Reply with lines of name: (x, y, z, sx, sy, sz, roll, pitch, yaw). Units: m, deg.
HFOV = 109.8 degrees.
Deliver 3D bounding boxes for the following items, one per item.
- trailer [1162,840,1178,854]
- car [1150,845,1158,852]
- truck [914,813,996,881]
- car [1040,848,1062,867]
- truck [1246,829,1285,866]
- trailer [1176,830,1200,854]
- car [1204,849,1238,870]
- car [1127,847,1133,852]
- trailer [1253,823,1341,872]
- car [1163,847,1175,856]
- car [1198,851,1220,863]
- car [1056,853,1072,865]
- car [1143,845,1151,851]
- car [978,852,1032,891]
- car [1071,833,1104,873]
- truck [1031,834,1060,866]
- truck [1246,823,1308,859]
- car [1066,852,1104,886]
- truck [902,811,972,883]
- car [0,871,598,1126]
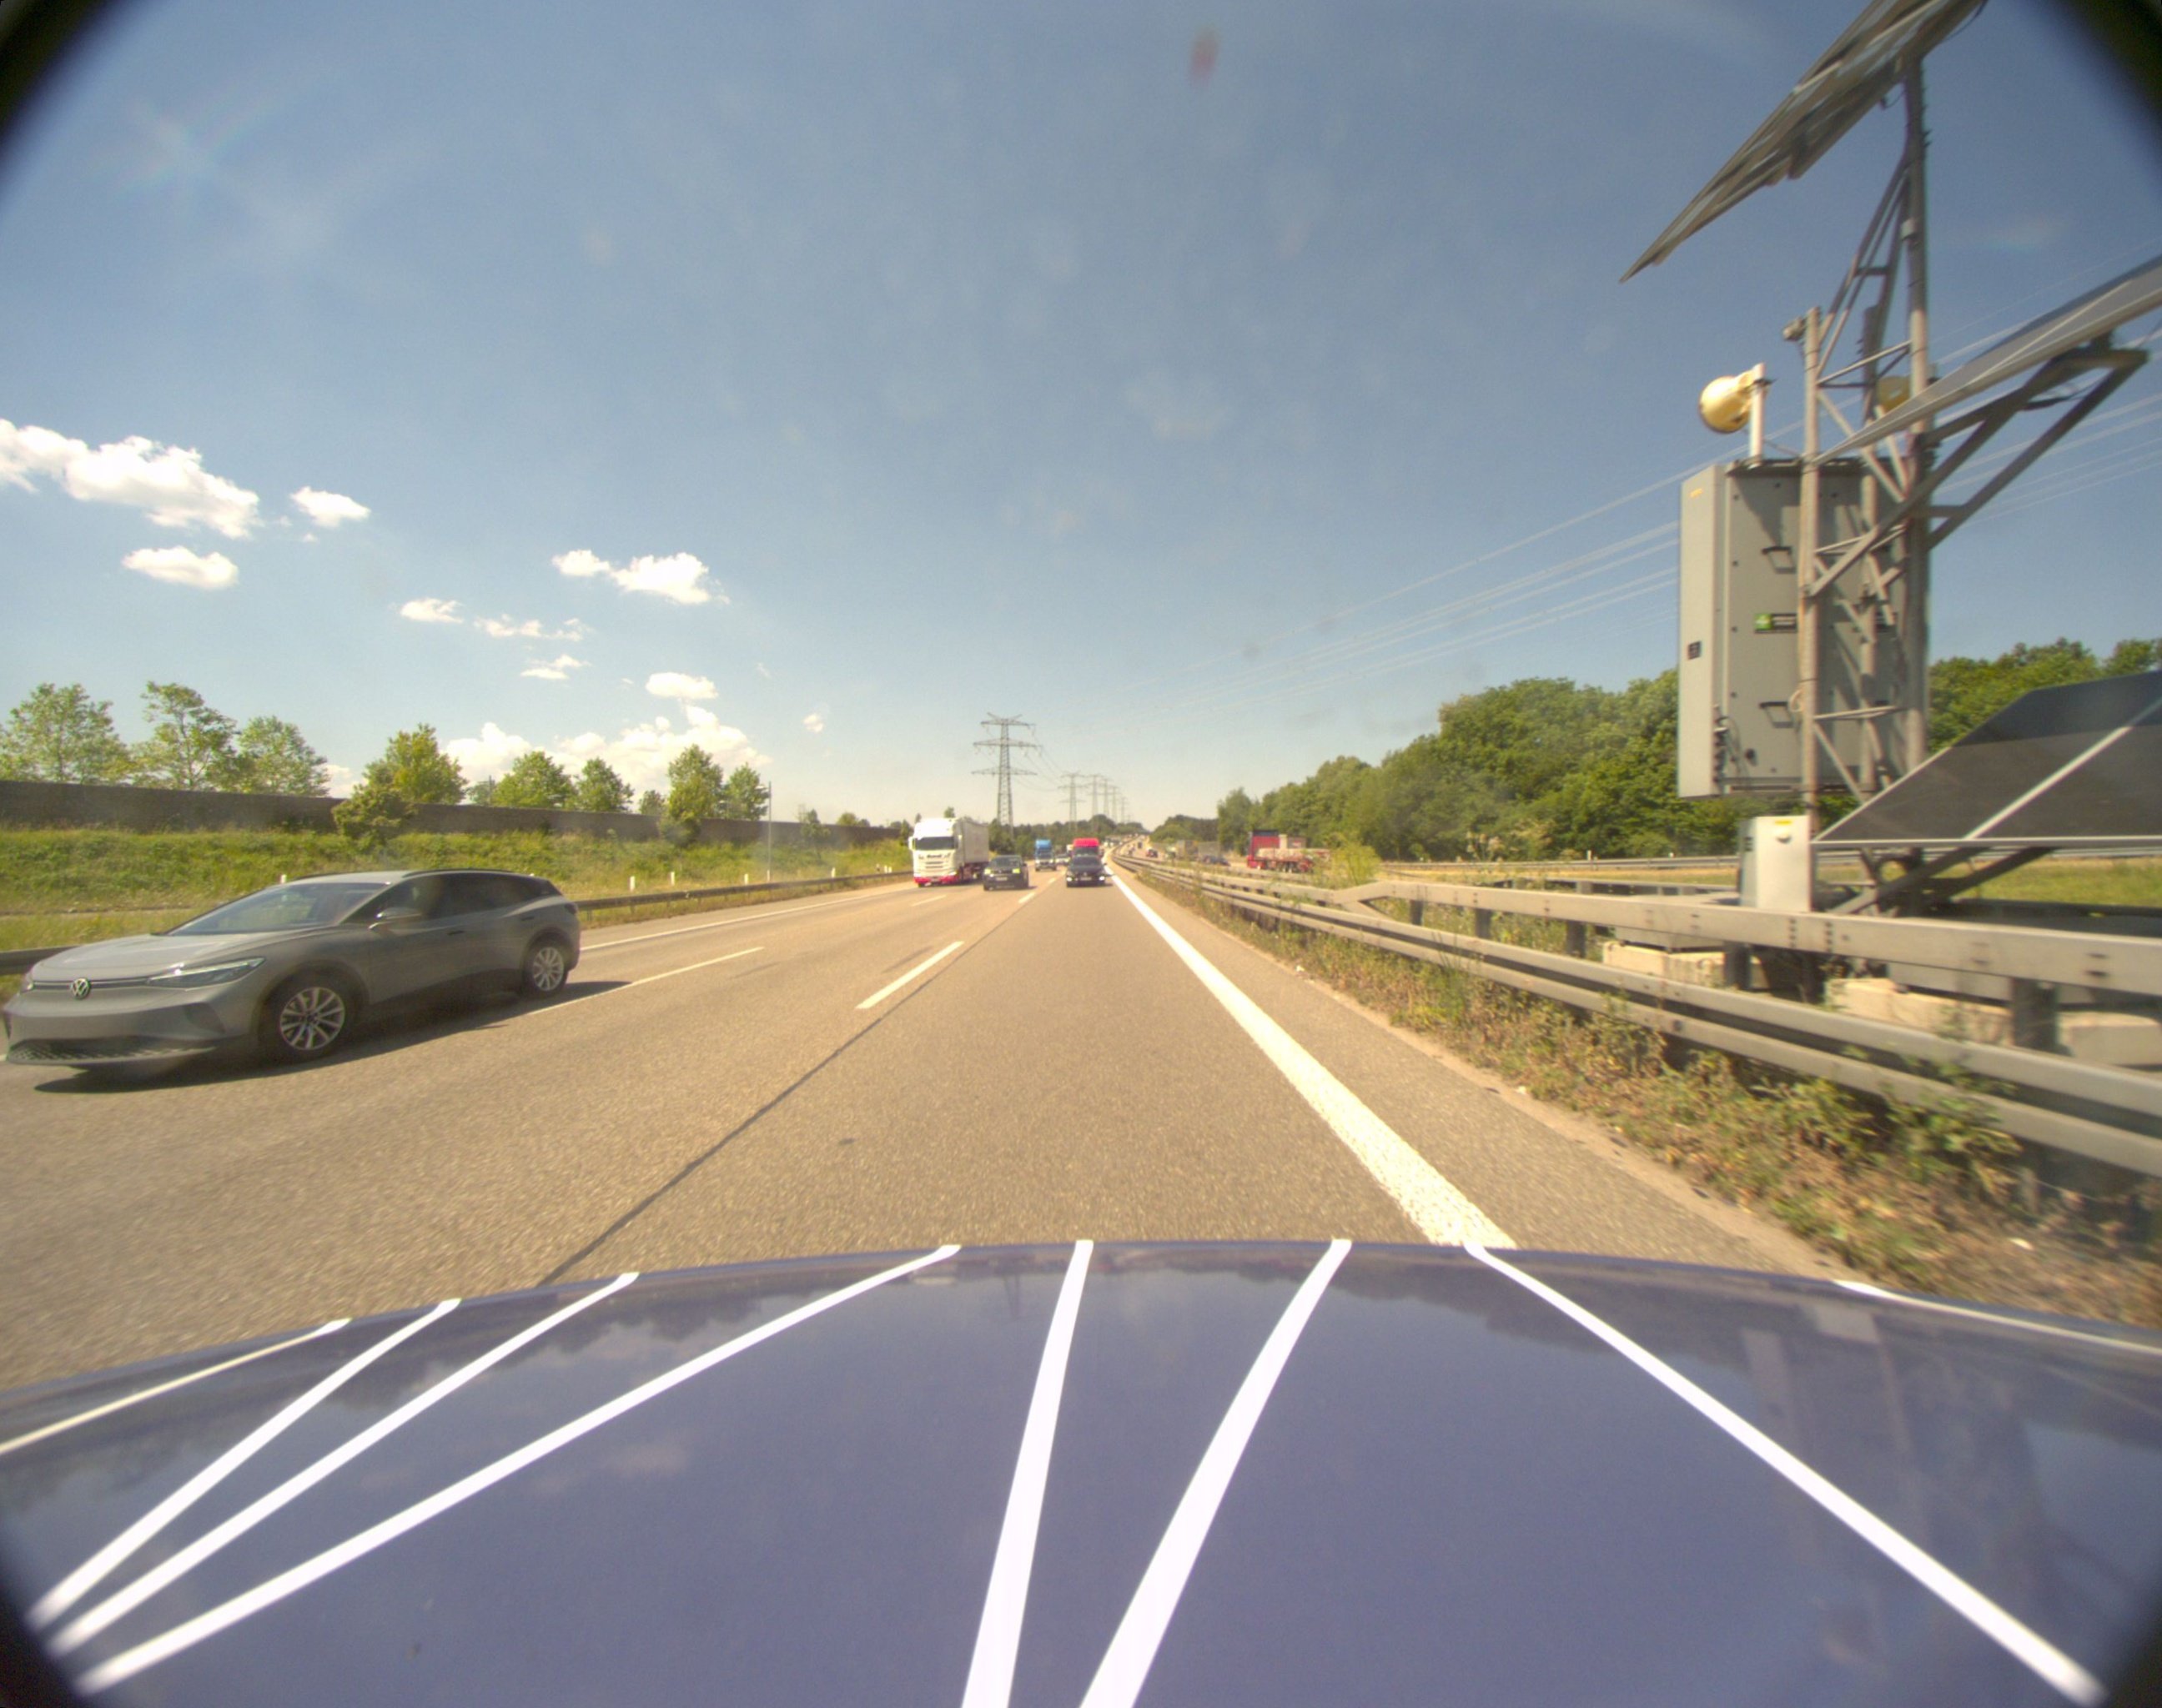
trailer: (20.954, -1.715, 179.738, 2.921, 3.281, 9.709, -1, 1, 1)
car: (16.996, -1.308, 177.592, 1.716, 1.460, 4.146, 1, 1, 3)
truck: (-8.094, -0.466, 50.772, 3.076, 3.885, 12.502, -2, 1, 1)
car: (-2.837, 0.302, 72.068, 1.749, 1.691, 4.088, 0, 1, 2)
truck: (17.690, -0.624, 73.120, 3.003, 3.538, 3.117, -1, 1, 0)
trailer: (20.175, -2.225, 143.513, 3.182, 4.316, 13.813, -1, 1, 3)
car: (10.233, 0.378, 55.768, 1.728, 1.517, 4.000, 0, 1, 1)
car: (16.629, -1.569, 256.758, 1.786, 1.615, 4.000, 0, 1, 1)
trailer: (17.600, -0.527, 63.574, 3.003, 3.538, 16.021, -1, 1, 1)
car: (15.613, -0.455, 135.123, 1.786, 1.522, 3.883, 2, 1, 1)
car: (14.312, 0.314, 85.197, 1.774, 1.327, 4.921, 0, 1, 1)
car: (-2.279, 0.672, 100.980, 1.878, 1.591, 3.688, 0, 1, 2)
car: (17.457, -1.525, 201.214, 1.786, 1.522, 4.384, 2, 1, 1)
car: (-3.544, 0.763, 35.969, 1.955, 1.637, 4.047, -3, 1, 2)
car: (0.504, -0.062, 51.783, 2.100, 2.598, 4.496, 0, 1, 2)
truck: (-5.973, -0.753, 131.771, 3.797, 4.971, 14.923, -2, 1, 2)
truck: (26.730, -1.628, 104.535, 3.005, 4.314, 14.540, -1, -2, -7)
car: (0.231, 0.677, 36.471, 1.735, 1.535, 3.750, 0, 1, 2)
truck: (-8.187, -0.400, 43.715, 3.076, 3.885, 3.847, -2, 1, 1)
car: (-7.390, 1.102, 7.749, 1.873, 1.627, 4.585, -2, 1, 1)
